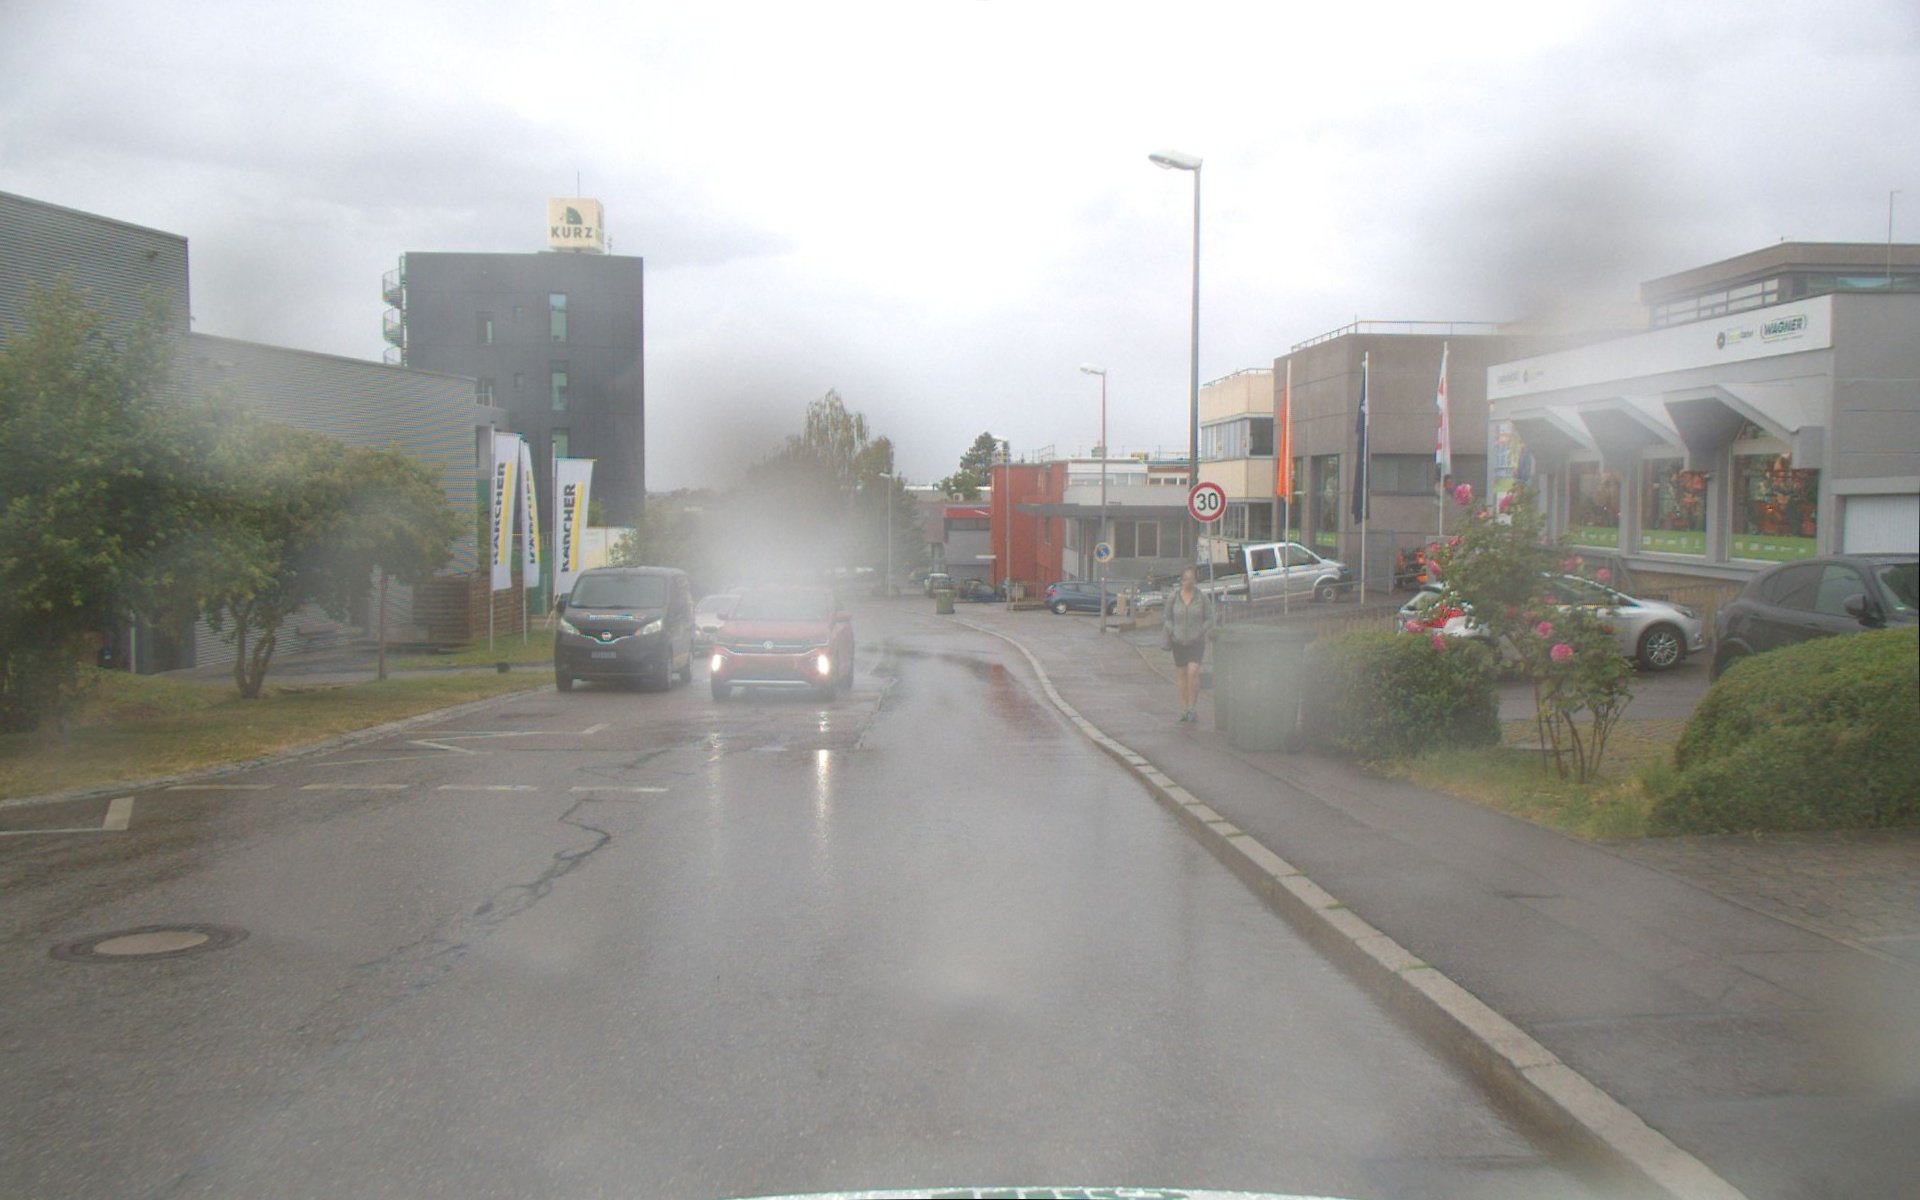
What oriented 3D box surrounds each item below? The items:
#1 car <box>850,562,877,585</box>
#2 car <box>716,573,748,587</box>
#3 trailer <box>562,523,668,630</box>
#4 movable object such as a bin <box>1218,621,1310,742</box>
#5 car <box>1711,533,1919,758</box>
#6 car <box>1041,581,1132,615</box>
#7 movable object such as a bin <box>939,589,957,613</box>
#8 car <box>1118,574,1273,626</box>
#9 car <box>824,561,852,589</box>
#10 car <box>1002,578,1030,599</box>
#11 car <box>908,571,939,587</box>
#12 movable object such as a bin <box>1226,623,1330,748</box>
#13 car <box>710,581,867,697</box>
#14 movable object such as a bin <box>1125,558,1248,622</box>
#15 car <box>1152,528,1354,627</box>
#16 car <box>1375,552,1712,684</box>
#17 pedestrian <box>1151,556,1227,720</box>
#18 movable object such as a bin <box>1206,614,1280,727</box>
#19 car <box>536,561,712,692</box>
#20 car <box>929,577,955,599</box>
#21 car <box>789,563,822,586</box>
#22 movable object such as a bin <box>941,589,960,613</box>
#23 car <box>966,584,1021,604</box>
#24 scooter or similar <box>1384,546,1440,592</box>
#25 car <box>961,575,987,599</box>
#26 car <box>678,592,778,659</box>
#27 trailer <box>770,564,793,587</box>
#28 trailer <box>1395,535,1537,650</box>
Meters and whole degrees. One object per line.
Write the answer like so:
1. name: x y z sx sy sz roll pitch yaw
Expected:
1. car: -8.985 -2.418 153.983 2.106 2.049 3.931 -1 0 -9
2. car: -27.179 -2.331 197.070 2.434 1.566 3.961 -1 0 -29
3. trailer: -14.307 -0.946 68.446 4.102 4.276 1.999 -1 0 36
4. movable object such as a bin: 2.813 0.743 15.327 0.728 1.085 0.636 0 0 -1
5. car: 8.406 0.349 14.215 1.713 1.780 4.471 -1 0 -2
6. car: 5.639 -0.092 74.018 3.817 1.408 1.819 1 0 -4
7. movable object such as a bin: -0.583 0.053 78.661 0.760 1.094 0.582 -1 1 -8
8. car: 8.105 -0.025 57.141 4.990 1.642 1.924 -1 1 -3
9. car: -11.327 -2.286 152.875 2.153 2.502 3.989 -1 0 -11
10. car: 3.982 -0.804 118.549 1.694 1.446 3.998 -1 0 -3
11. car: -3.136 -1.778 140.475 2.500 1.375 1.240 0 1 -8
12. movable object such as a bin: 2.791 0.740 14.591 0.756 1.048 0.808 0 0 -1
13. car: -2.394 0.530 23.971 1.711 1.535 3.936 0 0 2
14. movable object such as a bin: 8.077 -0.363 59.144 4.169 2.147 1.476 -1 1 -2
15. car: 8.432 -0.630 47.943 5.197 2.047 2.221 -8 0 -3
16. car: 8.233 0.247 23.592 4.039 1.601 2.002 -3 0 -3
17. pedestrian: 2.560 0.420 18.558 0.721 1.798 0.808 0 0 -1
18. movable object such as a bin: 2.964 0.724 17.303 0.713 1.133 0.704 0 0 14
19. car: -5.155 0.369 26.010 1.877 1.863 4.846 0 0 -1
20. car: -1.295 -0.823 118.445 1.663 1.501 3.998 -1 0 -3
21. car: -14.254 -2.347 152.285 2.230 2.049 3.980 -1 0 -18
22. movable object such as a bin: -0.457 0.055 78.019 0.791 1.111 0.708 -1 1 -8
23. car: 2.034 -0.361 100.772 3.331 1.183 1.791 0 1 -1
24. scooter or similar: 13.488 -0.929 49.411 1.043 1.245 2.065 -4 2 0
25. car: 0.995 -0.941 119.282 1.704 1.682 3.998 -1 0 -3
26. car: -5.622 0.563 40.642 1.917 1.486 5.245 -1 1 -2
27. trailer: -16.873 -2.319 156.156 1.819 2.049 3.991 0 1 -10
28. trailer: 11.460 -0.230 37.754 1.848 2.458 4.308 -1 2 -1
